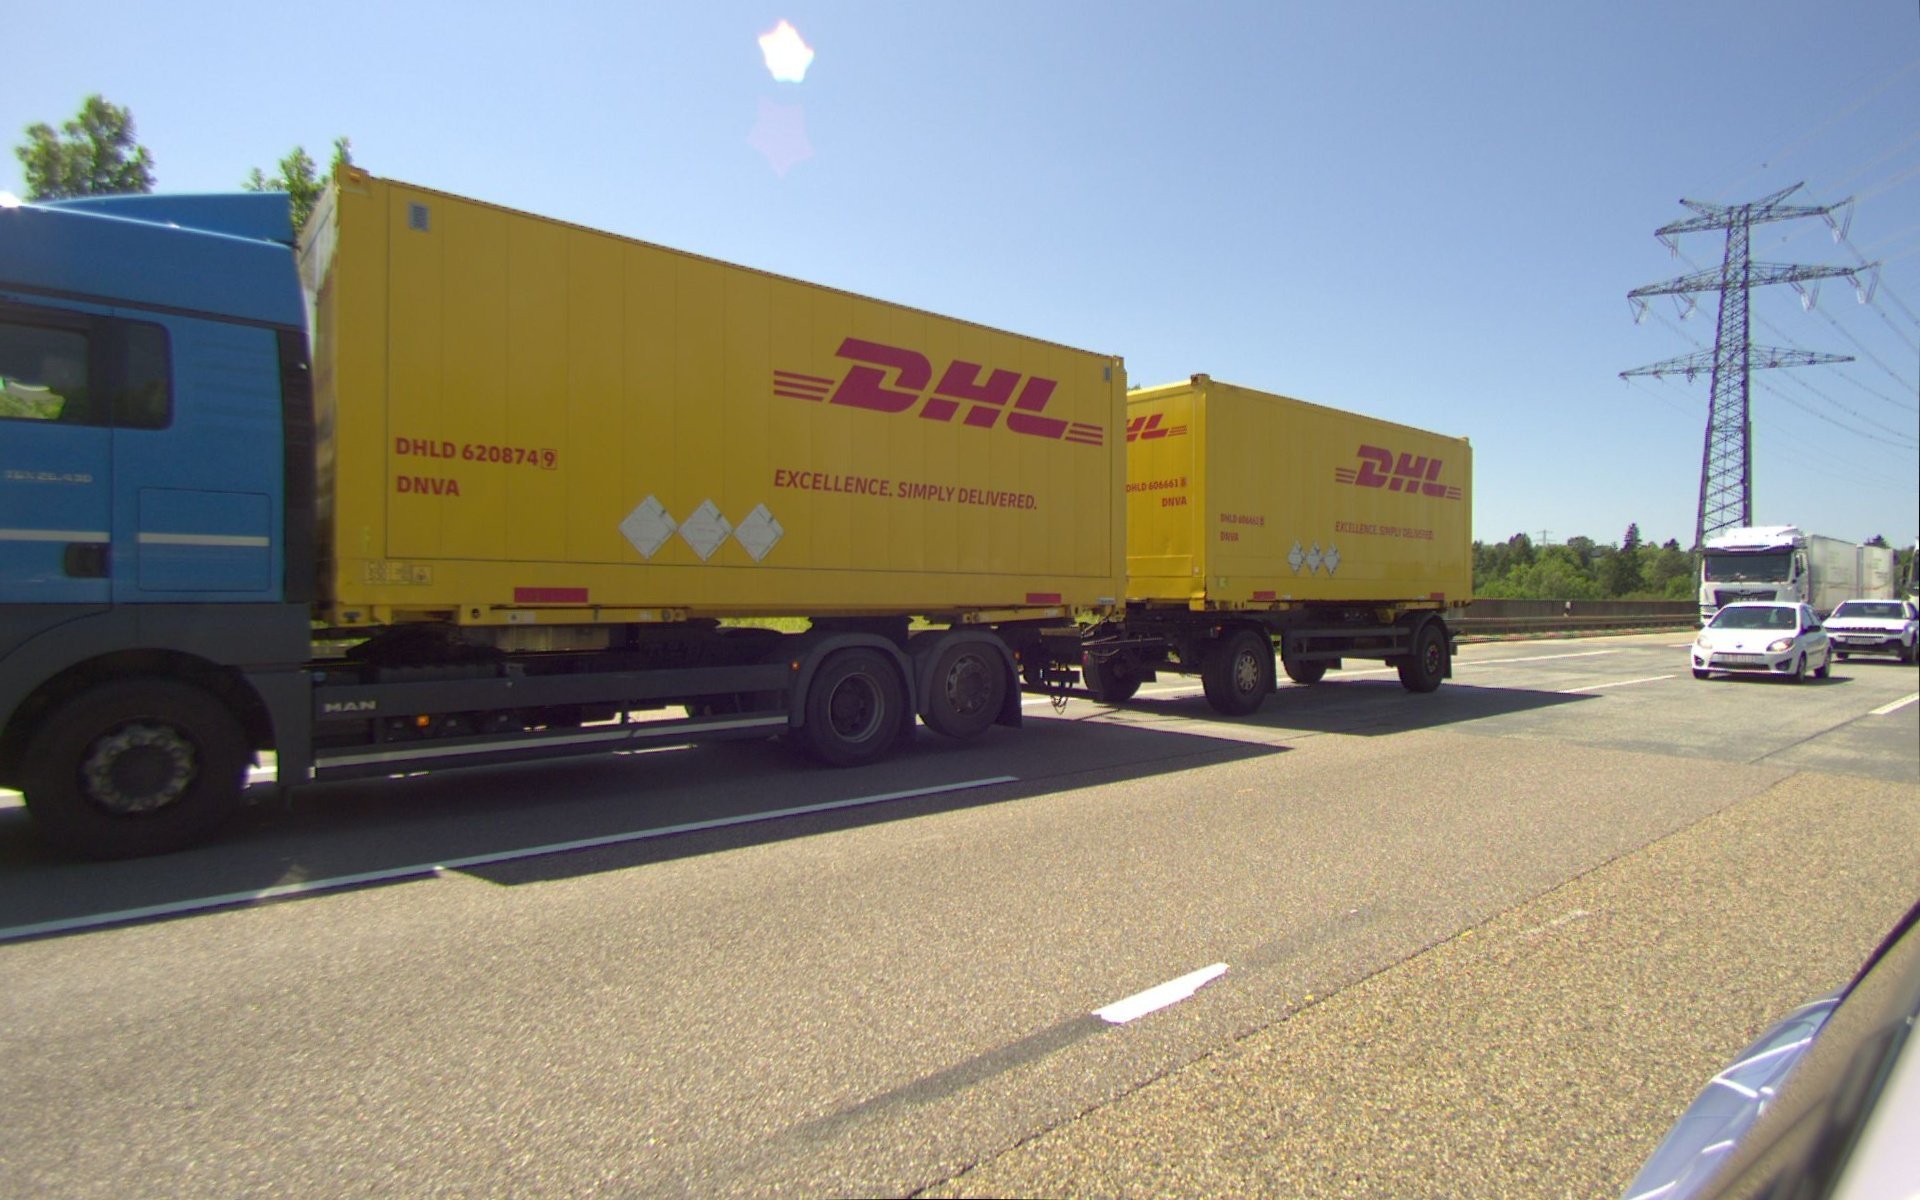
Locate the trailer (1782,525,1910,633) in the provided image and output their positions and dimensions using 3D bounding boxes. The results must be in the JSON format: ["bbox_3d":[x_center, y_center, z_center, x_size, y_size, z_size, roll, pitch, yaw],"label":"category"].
[{"bbox_3d":[35.813,-0.771,40.791,7.635,3.991,2.750,0,0,-40],"label":"trailer"}]

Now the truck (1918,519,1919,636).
[{"bbox_3d":[39.908,-0.768,38.941,13.999,4.090,2.717,0,0,-39],"label":"truck"}]

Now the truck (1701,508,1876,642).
[{"bbox_3d":[28.653,-0.753,34.727,11.097,3.980,2.694,0,0,-40],"label":"truck"}]

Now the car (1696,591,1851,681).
[{"bbox_3d":[15.543,0.605,19.278,3.759,1.529,1.658,-1,0,-41],"label":"car"}]

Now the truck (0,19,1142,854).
[{"bbox_3d":[-2.678,-0.784,8.647,9.775,4.162,2.770,1,-1,-40],"label":"truck"}]

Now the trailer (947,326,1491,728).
[{"bbox_3d":[4.241,-0.721,14.540,9.210,4.170,2.770,1,-1,-40],"label":"trailer"}]

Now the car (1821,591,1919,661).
[{"bbox_3d":[22.455,0.570,24.519,3.783,1.549,1.775,-1,0,-39],"label":"car"}]
